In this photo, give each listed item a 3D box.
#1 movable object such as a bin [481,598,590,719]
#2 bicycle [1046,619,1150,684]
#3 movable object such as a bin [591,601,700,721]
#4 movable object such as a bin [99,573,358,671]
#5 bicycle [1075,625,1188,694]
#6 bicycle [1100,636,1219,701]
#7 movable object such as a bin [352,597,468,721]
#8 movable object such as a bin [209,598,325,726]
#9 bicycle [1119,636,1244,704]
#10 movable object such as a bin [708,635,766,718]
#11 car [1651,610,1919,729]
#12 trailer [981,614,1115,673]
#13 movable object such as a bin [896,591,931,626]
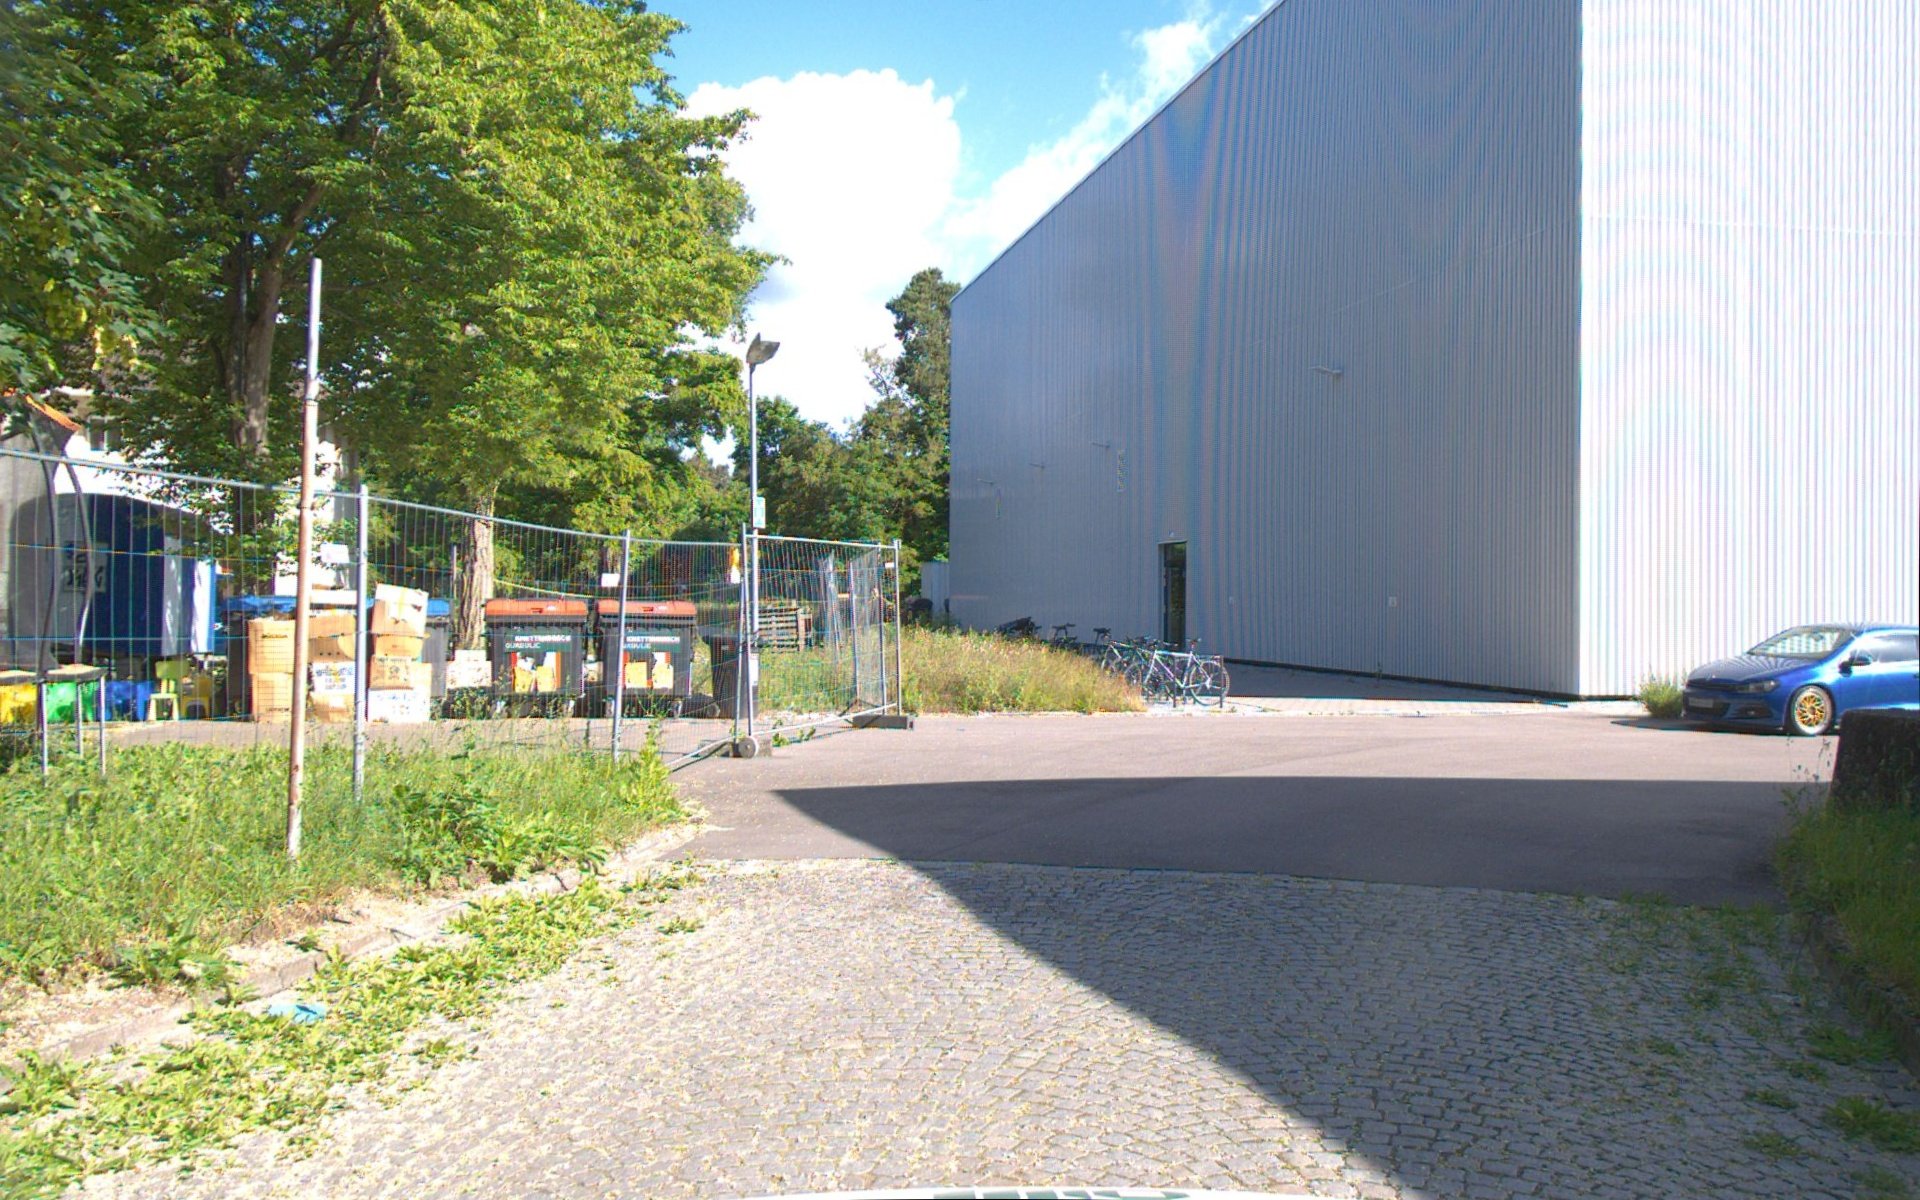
[{"bbox_3d":[-5.233,0.702,20.428,1.266,1.451,1.028,0,0,-15],"label":"movable object such as a bin"},{"bbox_3d":[2.507,0.935,30.120,1.851,1.145,0.432,0,0,-14],"label":"bicycle"},{"bbox_3d":[-3.959,0.747,20.790,1.266,1.451,1.028,0,0,-16],"label":"movable object such as a bin"},{"bbox_3d":[-15.495,0.442,35.318,4.790,2.005,1.925,0,0,-15],"label":"movable object such as a bin"},{"bbox_3d":[2.861,0.981,27.570,1.851,1.101,0.432,0,0,-14],"label":"bicycle"},{"bbox_3d":[3.164,1.080,26.251,1.851,0.995,0.432,0,0,-14],"label":"bicycle"},{"bbox_3d":[-6.663,0.697,20.102,1.266,1.451,1.028,0,0,-15],"label":"movable object such as a bin"},{"bbox_3d":[-8.215,0.715,19.659,1.064,1.463,1.053,0,0,-10],"label":"movable object such as a bin"},{"bbox_3d":[3.363,1.050,25.063,1.851,0.995,0.432,0,0,-14],"label":"bicycle"},{"bbox_3d":[-2.814,0.961,20.890,0.628,1.025,0.605,0,0,3],"label":"movable object such as a bin"},{"bbox_3d":[11.236,0.870,21.311,4.084,1.408,1.749,1,0,-14],"label":"car"},{"bbox_3d":[1.882,0.925,35.564,2.664,1.221,1.242,0,0,-13],"label":"trailer"},{"bbox_3d":[-2.316,0.415,81.284,1.338,1.685,2.835,0,0,-10],"label":"movable object such as a bin"}]
